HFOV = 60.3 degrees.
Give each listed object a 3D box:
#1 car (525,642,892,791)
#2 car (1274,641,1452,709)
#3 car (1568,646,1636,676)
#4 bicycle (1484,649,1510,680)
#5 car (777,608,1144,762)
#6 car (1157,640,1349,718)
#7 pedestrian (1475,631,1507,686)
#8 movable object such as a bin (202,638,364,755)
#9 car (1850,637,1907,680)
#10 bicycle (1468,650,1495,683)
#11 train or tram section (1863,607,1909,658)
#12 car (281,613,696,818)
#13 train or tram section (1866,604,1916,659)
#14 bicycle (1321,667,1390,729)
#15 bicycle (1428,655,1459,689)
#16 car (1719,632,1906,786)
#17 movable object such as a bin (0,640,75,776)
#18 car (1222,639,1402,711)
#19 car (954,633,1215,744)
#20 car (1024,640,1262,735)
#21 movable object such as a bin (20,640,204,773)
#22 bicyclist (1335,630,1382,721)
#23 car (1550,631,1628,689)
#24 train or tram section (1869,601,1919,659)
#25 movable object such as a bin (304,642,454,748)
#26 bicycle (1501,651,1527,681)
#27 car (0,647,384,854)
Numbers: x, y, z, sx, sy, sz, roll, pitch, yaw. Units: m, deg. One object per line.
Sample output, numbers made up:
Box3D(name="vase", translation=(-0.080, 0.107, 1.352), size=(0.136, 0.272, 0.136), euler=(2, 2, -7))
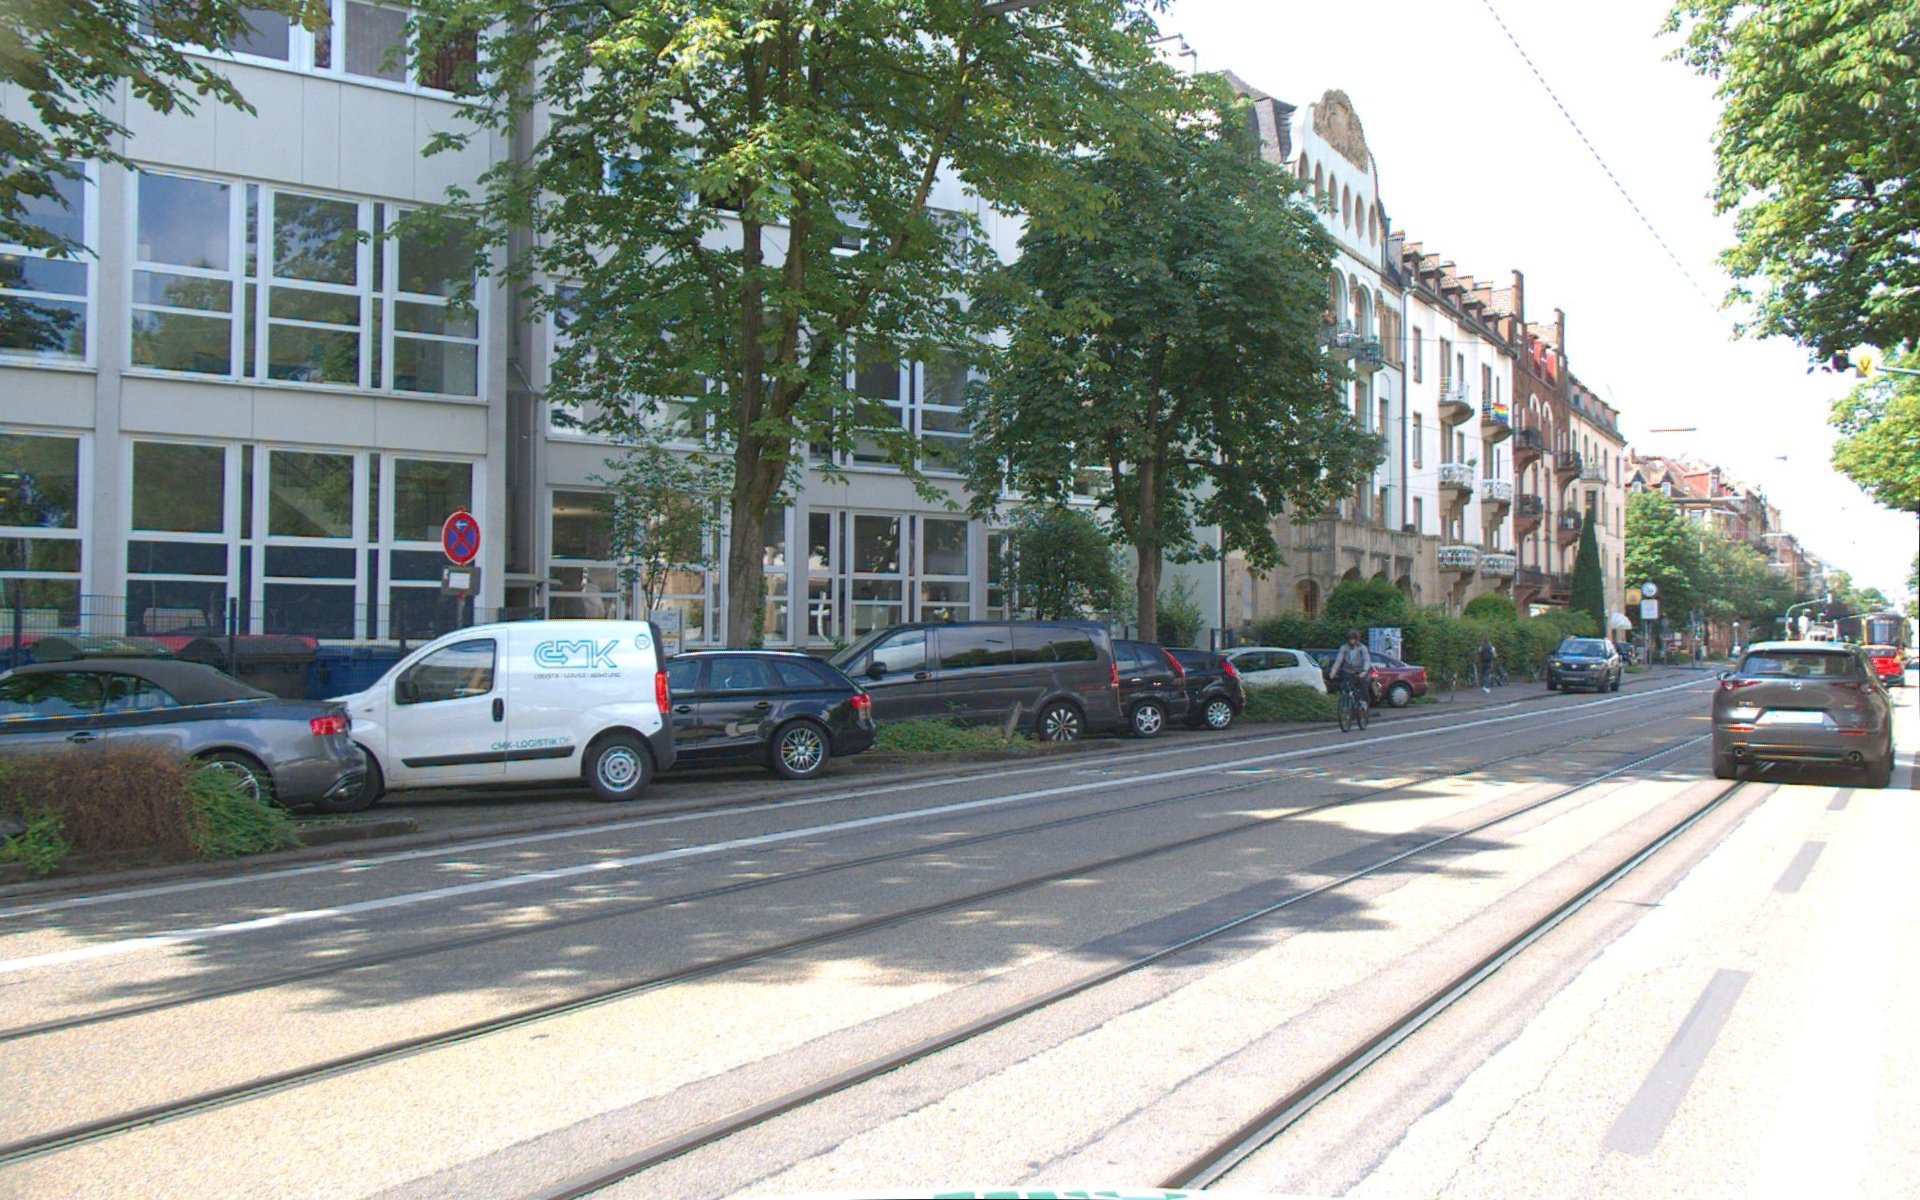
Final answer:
Box3D(name="car", translation=(-2.890, 1.283, 18.789), size=(3.921, 1.442, 1.753), euler=(-1, -3, -15))
Box3D(name="car", translation=(10.032, 1.867, 41.277), size=(3.888, 1.510, 1.840), euler=(-2, -3, -12))
Box3D(name="car", translation=(35.723, 3.398, 92.035), size=(3.181, 1.539, 1.673), euler=(1, -1, 35))
Box3D(name="bicycle", translation=(17.595, 2.115, 54.144), size=(0.376, 0.976, 1.805), euler=(1, -1, 32))
Box3D(name="car", translation=(-0.025, 1.225, 24.447), size=(5.066, 1.988, 1.908), euler=(-1, -3, -15))
Box3D(name="car", translation=(6.350, 1.711, 35.997), size=(3.731, 1.510, 1.691), euler=(-1, -3, -15))
Box3D(name="pedestrian", translation=(15.839, 1.744, 49.304), size=(0.668, 1.596, 0.879), euler=(1, -1, 33))
Box3D(name="movable object such as a bin", translation=(-8.305, 1.176, 20.322), size=(1.142, 1.351, 1.439), euler=(-4, -4, 29))
Box3D(name="car", translation=(33.950, 2.136, 61.221), size=(1.751, 1.519, 4.875), euler=(-1, -2, 28))
Box3D(name="bicycle", translation=(16.518, 2.097, 52.356), size=(0.376, 0.976, 1.805), euler=(1, -1, 32))
Box3D(name="train or tram section", translation=(68.220, 2.479, 121.913), size=(2.601, 3.590, 8.484), euler=(-2, -2, 28))
Box3D(name="car", translation=(-4.469, 1.080, 16.055), size=(3.639, 1.722, 1.754), euler=(-2, -3, -13))
Box3D(name="train or tram section", translation=(64.313, 2.247, 114.381), size=(2.601, 3.590, 8.484), euler=(-2, -2, 28))
Box3D(name="bicycle", translation=(7.118, 1.749, 29.704), size=(0.643, 1.059, 1.996), euler=(-2, -3, 30))
Box3D(name="bicycle", translation=(14.325, 2.122, 48.994), size=(0.376, 0.976, 1.805), euler=(1, -1, 32))
Box3D(name="car", translation=(10.054, 1.168, 19.382), size=(1.756, 1.538, 4.342), euler=(0, 0, 30))
Box3D(name="movable object such as a bin", translation=(-10.417, 1.153, 17.308), size=(1.360, 1.388, 1.537), euler=(-4, -4, 27))
Box3D(name="car", translation=(8.211, 1.763, 38.730), size=(3.724, 1.510, 1.694), euler=(-2, -3, -9))
Box3D(name="car", translation=(2.015, 1.436, 27.262), size=(3.919, 1.621, 1.734), euler=(-1, -3, -14))
Box3D(name="car", translation=(3.280, 1.569, 29.970), size=(3.916, 1.510, 1.736), euler=(-2, -3, -12))
Box3D(name="movable object such as a bin", translation=(-9.582, 1.194, 18.716), size=(1.169, 1.405, 1.439), euler=(-4, -4, 28))
Box3D(name="bicyclist", translation=(7.180, 1.354, 29.787), size=(0.629, 1.604, 0.740), euler=(-2, -3, 30))
Box3D(name="car", translation=(20.525, 1.922, 53.870), size=(1.751, 1.793, 4.875), euler=(-1, -2, 28))
Box3D(name="train or tram section", translation=(60.388, 2.016, 106.867), size=(2.601, 3.590, 8.484), euler=(-2, -2, 28))
Box3D(name="movable object such as a bin", translation=(-7.578, 1.234, 21.597), size=(1.146, 1.306, 1.439), euler=(-4, -4, 30))
Box3D(name="bicycle", translation=(18.745, 2.215, 55.939), size=(0.376, 0.976, 1.916), euler=(1, -1, 32))
Box3D(name="car", translation=(-6.694, 1.176, 13.190), size=(3.929, 1.442, 1.711), euler=(-1, -3, -21))
